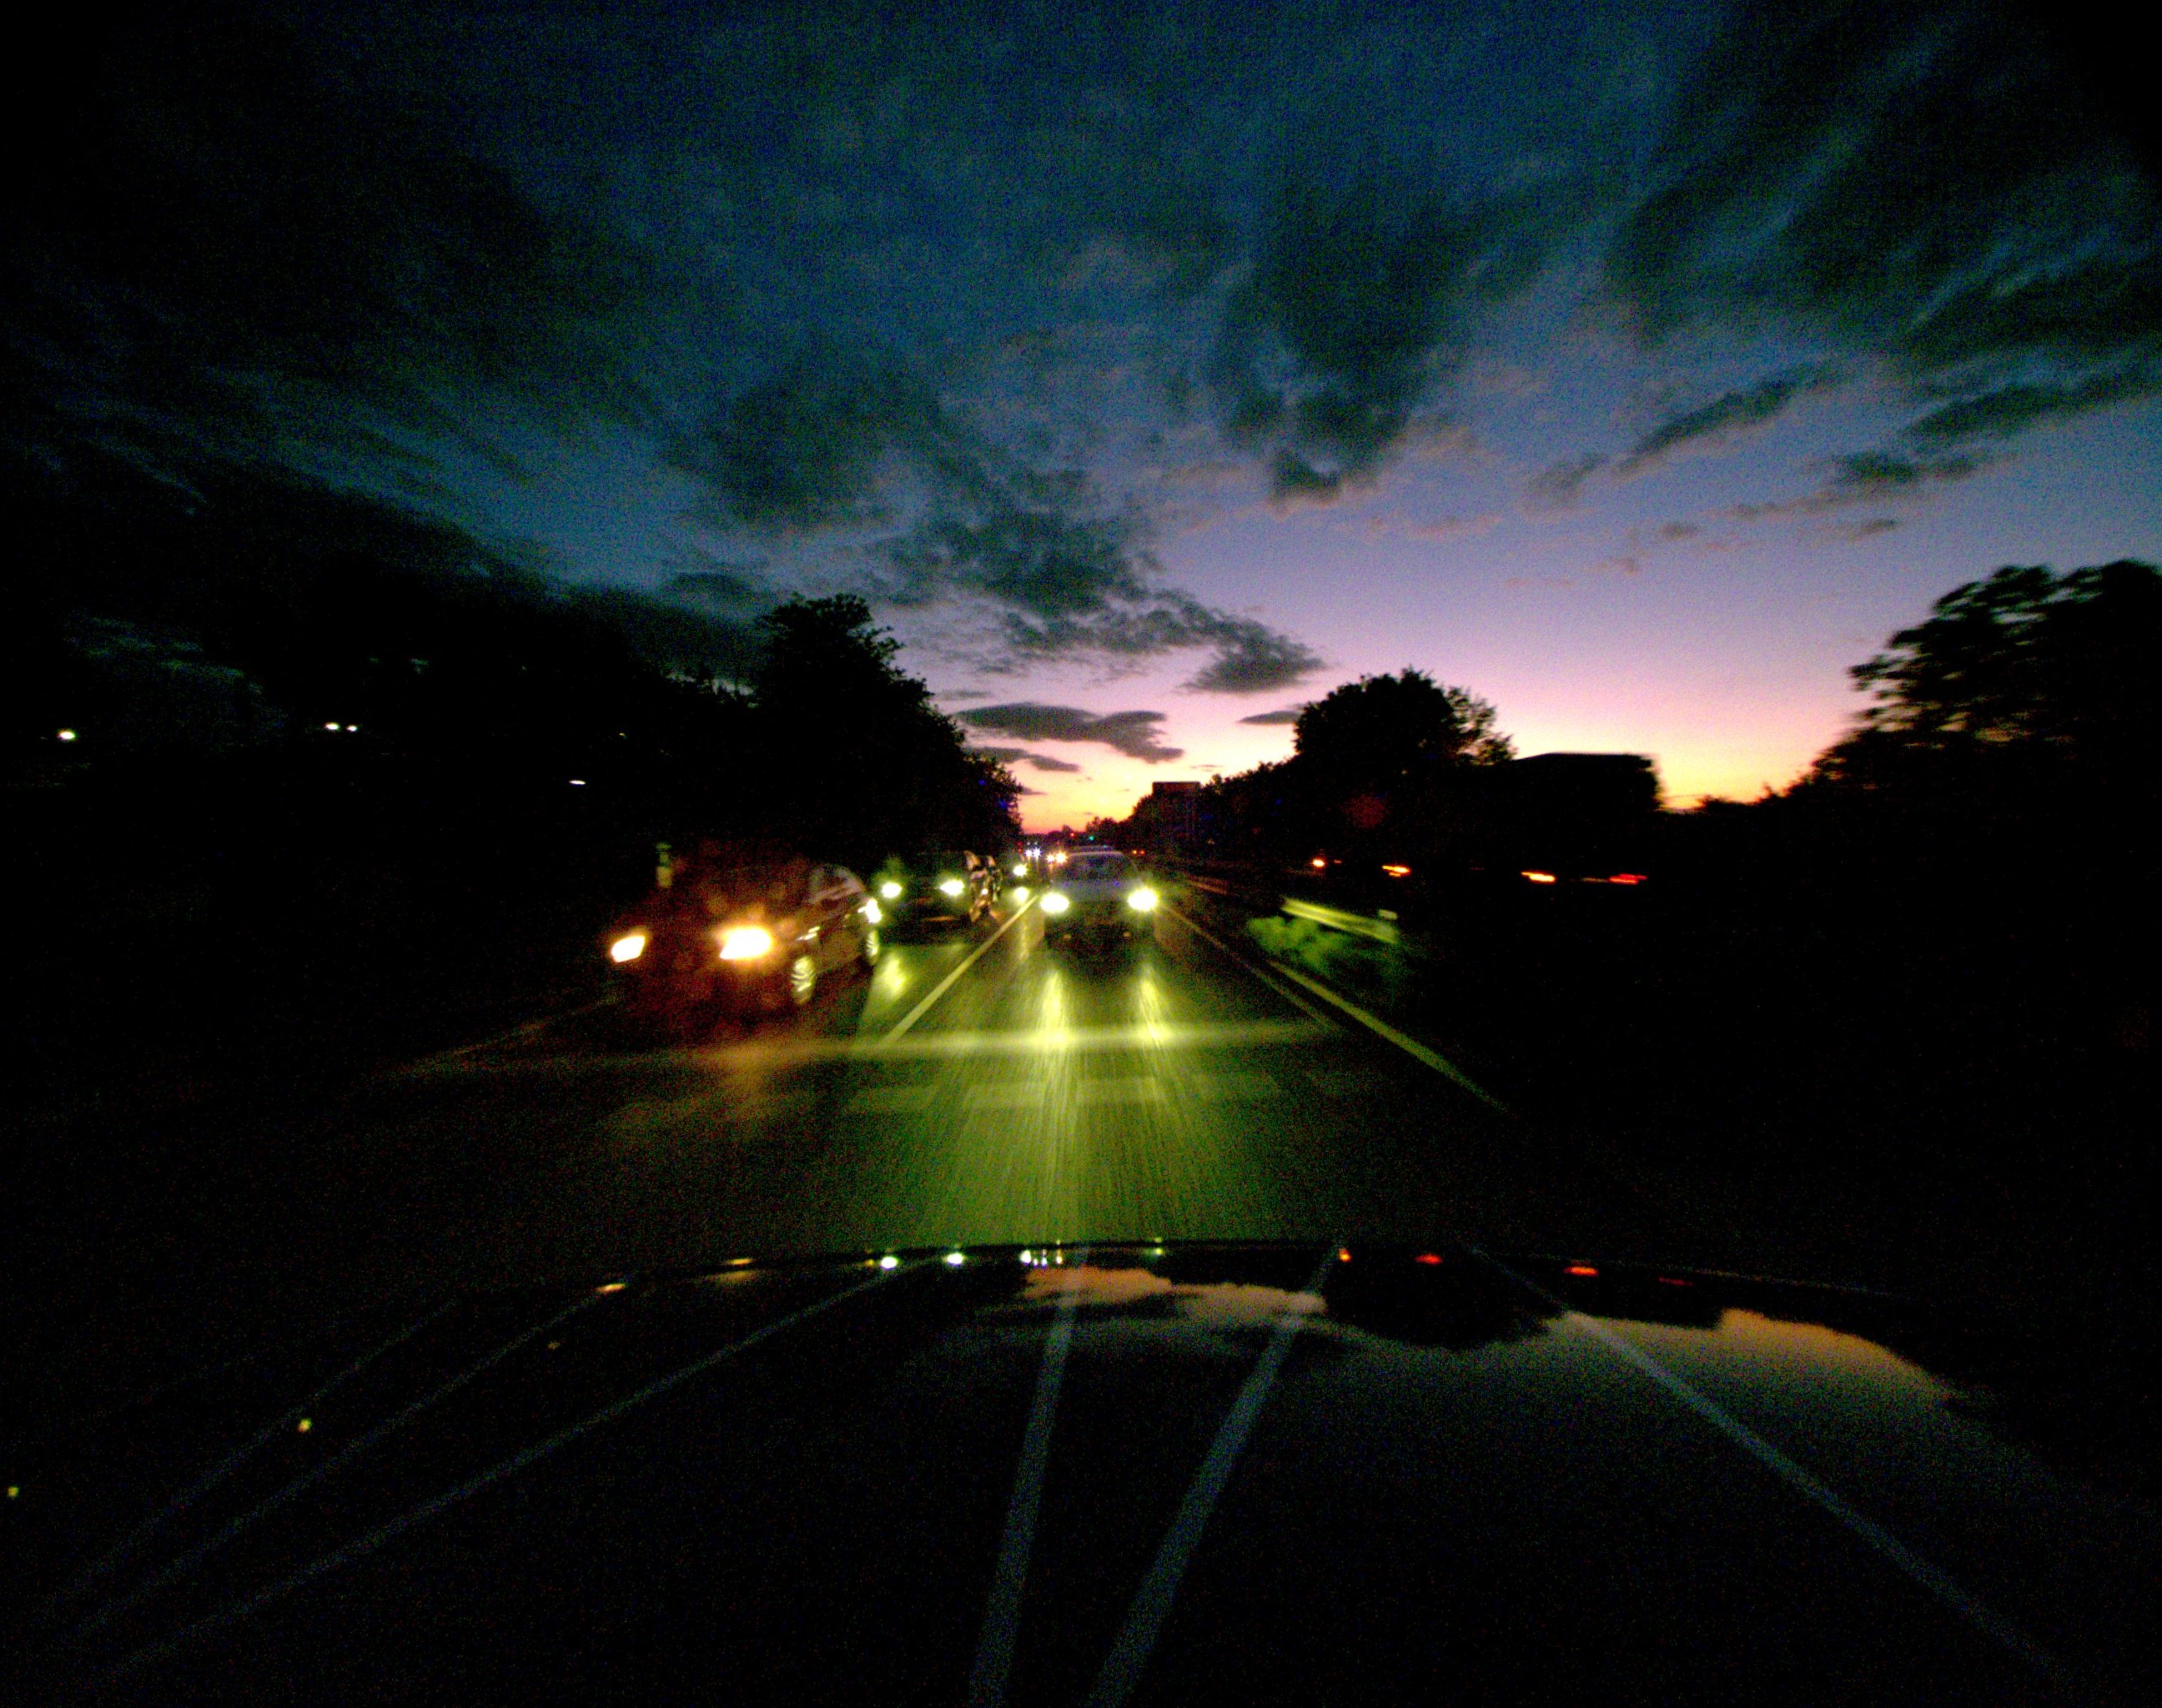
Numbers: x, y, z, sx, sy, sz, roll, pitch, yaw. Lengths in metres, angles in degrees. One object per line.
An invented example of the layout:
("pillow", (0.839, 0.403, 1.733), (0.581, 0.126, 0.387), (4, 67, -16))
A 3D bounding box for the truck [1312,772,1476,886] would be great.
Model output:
("truck", (13.008, -0.987, 32.884), (2.732, 4.094, 10.343), (-2, 1, 0))

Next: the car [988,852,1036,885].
("car", (-3.227, 0.649, 36.176), (1.819, 1.360, 3.999), (-3, 1, 0))

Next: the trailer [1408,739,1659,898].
("trailer", (13.048, -0.910, 23.175), (2.583, 3.920, 8.877), (0, 1, 2))

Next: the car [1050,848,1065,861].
("car", (-2.648, 0.032, 86.357), (1.606, 1.291, 3.551), (-3, 1, -2))

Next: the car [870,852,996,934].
("car", (-3.219, 0.784, 17.460), (1.902, 1.547, 4.300), (-3, 0, 1))

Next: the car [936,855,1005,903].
("car", (-3.520, 0.747, 24.788), (1.621, 1.405, 3.755), (-2, 0, 1))

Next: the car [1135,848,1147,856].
("car", (11.662, -0.396, 147.121), (1.633, 1.496, 4.589), (0, 1, -4))

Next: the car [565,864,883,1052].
("car", (-3.571, 0.926, 8.420), (1.663, 1.528, 3.715), (-2, 0, 1))

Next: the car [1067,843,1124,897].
("car", (0.502, 0.513, 26.689), (1.760, 1.692, 4.249), (-2, 0, 1))

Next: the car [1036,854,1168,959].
("car", (0.335, 0.751, 13.117), (1.819, 1.428, 4.646), (-2, 0, 1))

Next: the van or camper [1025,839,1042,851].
("van or camper", (-12.552, -2.349, 202.493), (3.949, 3.107, 9.941), (0, 0, 0))
